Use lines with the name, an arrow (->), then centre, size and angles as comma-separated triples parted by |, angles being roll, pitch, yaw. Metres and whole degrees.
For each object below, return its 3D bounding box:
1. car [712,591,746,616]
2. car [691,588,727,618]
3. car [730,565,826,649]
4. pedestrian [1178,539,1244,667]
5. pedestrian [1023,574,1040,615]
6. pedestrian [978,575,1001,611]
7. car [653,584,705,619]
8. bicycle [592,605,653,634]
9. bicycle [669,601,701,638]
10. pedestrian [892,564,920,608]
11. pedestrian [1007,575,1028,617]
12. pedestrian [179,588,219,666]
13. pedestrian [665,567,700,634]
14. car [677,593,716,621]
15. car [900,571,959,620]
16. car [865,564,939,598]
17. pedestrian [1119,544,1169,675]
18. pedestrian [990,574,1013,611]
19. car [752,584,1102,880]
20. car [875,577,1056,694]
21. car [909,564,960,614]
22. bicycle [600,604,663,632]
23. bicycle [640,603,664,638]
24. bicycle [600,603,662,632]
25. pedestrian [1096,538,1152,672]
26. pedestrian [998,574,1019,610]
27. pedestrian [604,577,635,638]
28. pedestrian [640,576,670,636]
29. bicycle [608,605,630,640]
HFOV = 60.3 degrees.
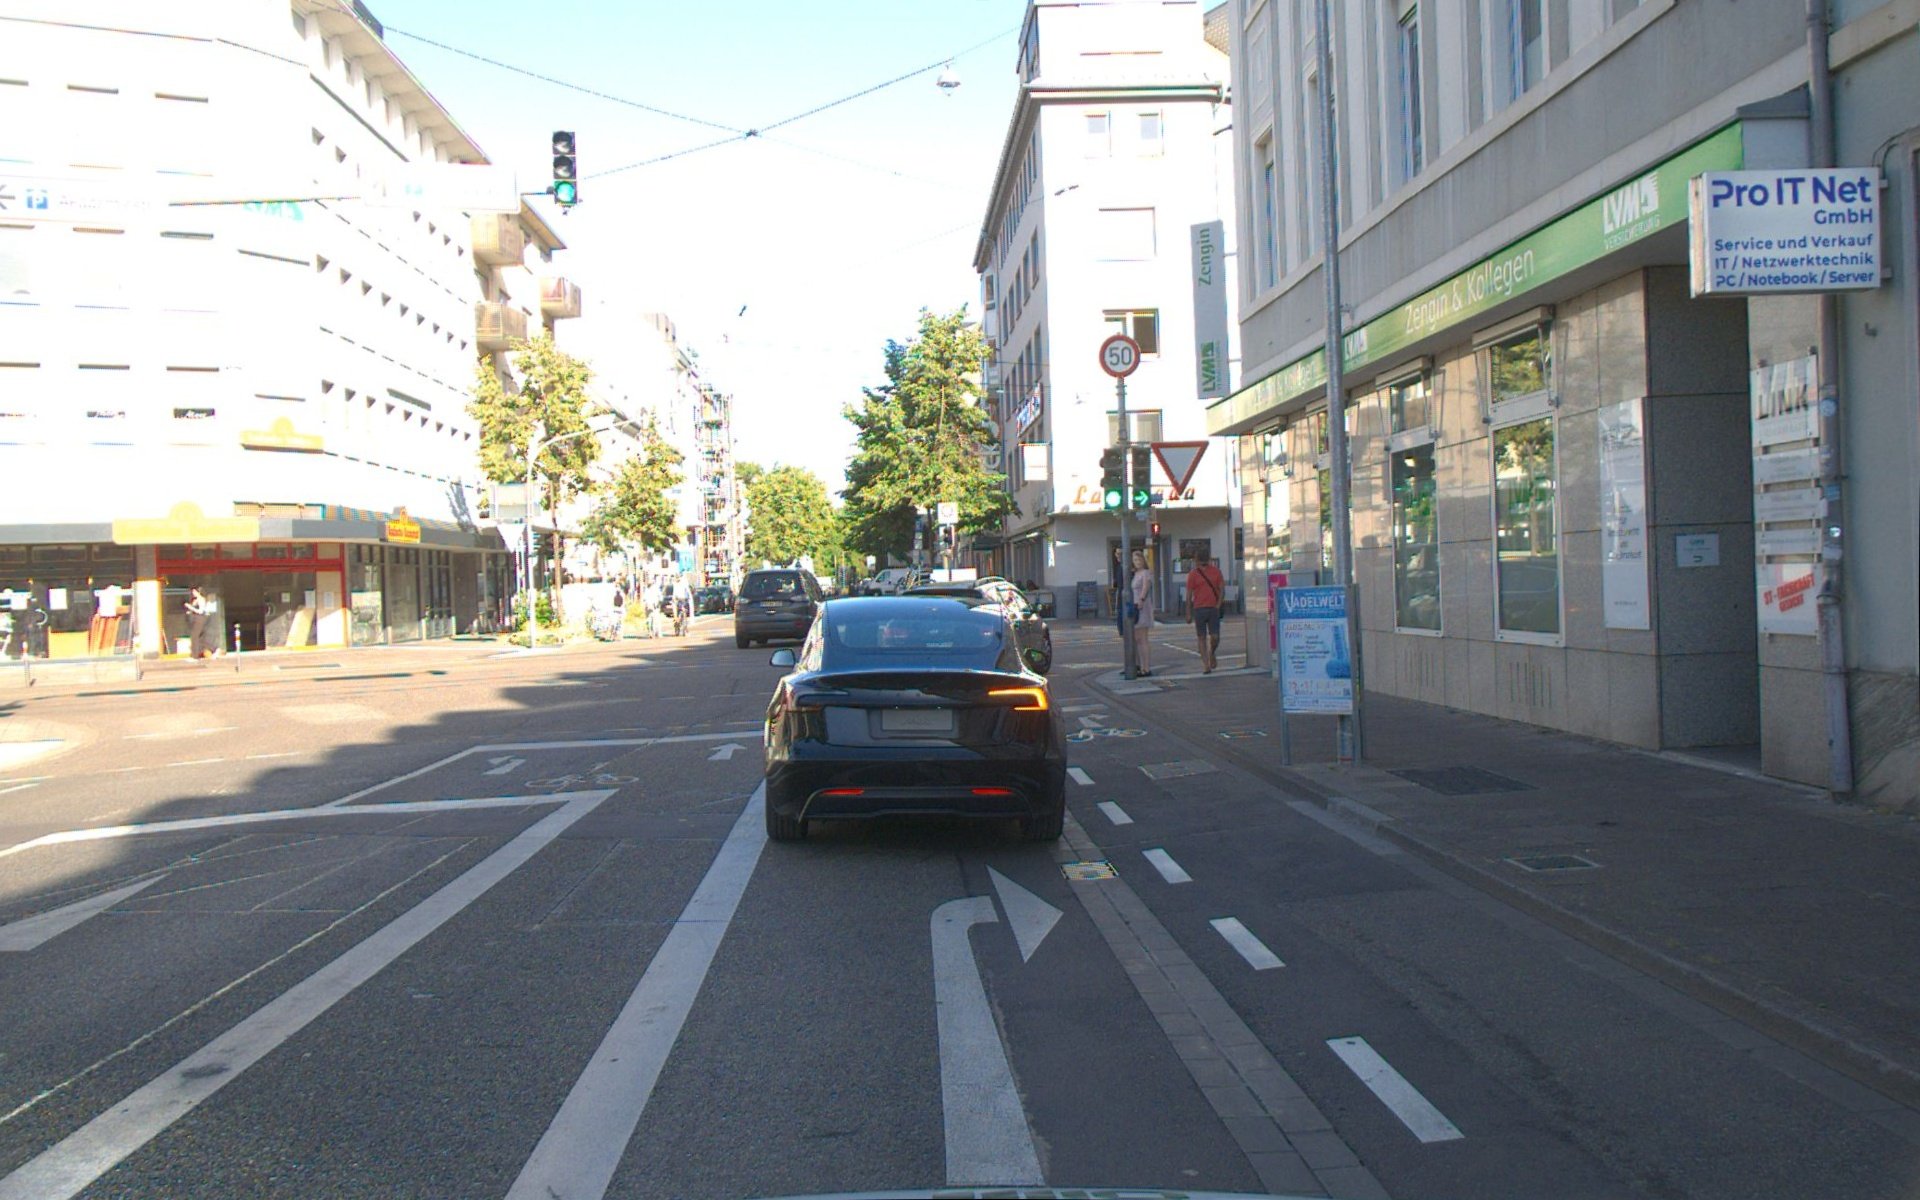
car -> -13.944, 0.206, 100.164 | 1.751, 1.427, 3.902 | -2, 1, -4
car -> -14.447, 0.161, 95.281 | 1.684, 1.638, 3.595 | -3, 1, -3
car -> -4.137, 0.119, 38.114 | 1.866, 1.763, 4.286 | -2, 1, -3
pedestrian -> 3.526, 0.034, 23.253 | 0.676, 1.732, 0.912 | -3, 1, -2
pedestrian -> 2.402, -0.176, 55.245 | 0.477, 1.345, 0.654 | -3, 0, 5
pedestrian -> 1.156, -0.279, 65.014 | 0.695, 1.370, 1.058 | -3, 1, -6
car -> -13.979, 0.035, 82.482 | 1.953, 1.626, 3.999 | -2, 1, -1
bicycle -> -12.811, 0.750, 62.742 | 2.183, 0.975, 0.653 | -3, 1, -16
bicycle -> -8.232, 0.563, 49.465 | 0.746, 1.025, 1.719 | -6, 1, -14
pedestrian -> -2.475, -0.644, 76.368 | 0.937, 1.948, 1.106 | -3, 1, 13
pedestrian -> 1.898, -0.141, 54.438 | 0.574, 1.335, 0.560 | -3, 0, -3
pedestrian -> -17.400, 0.611, 37.832 | 0.548, 1.739, 0.711 | -3, 1, -6
pedestrian -> -8.298, 0.009, 49.441 | 0.766, 1.898, 0.997 | -5, 2, -17
car -> -14.386, 0.351, 90.429 | 1.751, 1.427, 3.902 | -2, 1, -4
car -> -1.155, -0.189, 59.959 | 1.961, 1.664, 4.286 | -2, 1, -3
car -> -4.276, -1.399, 121.572 | 5.285, 2.183, 1.998 | -3, 1, -4
pedestrian -> 2.574, 0.125, 23.160 | 0.561, 1.790, 0.649 | -2, 1, -3
pedestrian -> 1.602, -0.280, 63.927 | 0.716, 1.370, 1.059 | -3, 1, -5
car -> -0.241, 0.689, 11.121 | 1.832, 1.452, 4.363 | -3, 1, -2
car -> 0.188, 0.430, 23.355 | 1.724, 1.443, 4.359 | -2, 1, 11
car -> -1.066, -0.452, 66.396 | 1.866, 1.884, 4.286 | -2, 1, -3
bicycle -> -12.873, 0.701, 64.791 | 2.348, 0.994, 0.653 | -3, 1, -13
bicycle -> -9.192, 0.610, 49.356 | 0.543, 0.985, 1.788 | -3, 1, -14
bicycle -> -13.048, 0.695, 65.616 | 2.356, 1.023, 0.653 | -3, 1, -14
pedestrian -> 2.349, 0.067, 23.691 | 0.627, 1.874, 0.681 | -2, 1, -3
pedestrian -> 1.914, -0.320, 65.214 | 0.716, 1.384, 0.958 | -3, 1, -3
pedestrian -> -9.953, 0.220, 48.303 | 0.778, 1.742, 0.651 | -2, 1, -18
pedestrian -> -9.132, 0.163, 49.485 | 0.766, 1.758, 0.556 | -2, 1, -18
bicycle -> -10.040, 0.658, 48.627 | 0.472, 0.972, 1.449 | -3, 1, -16
